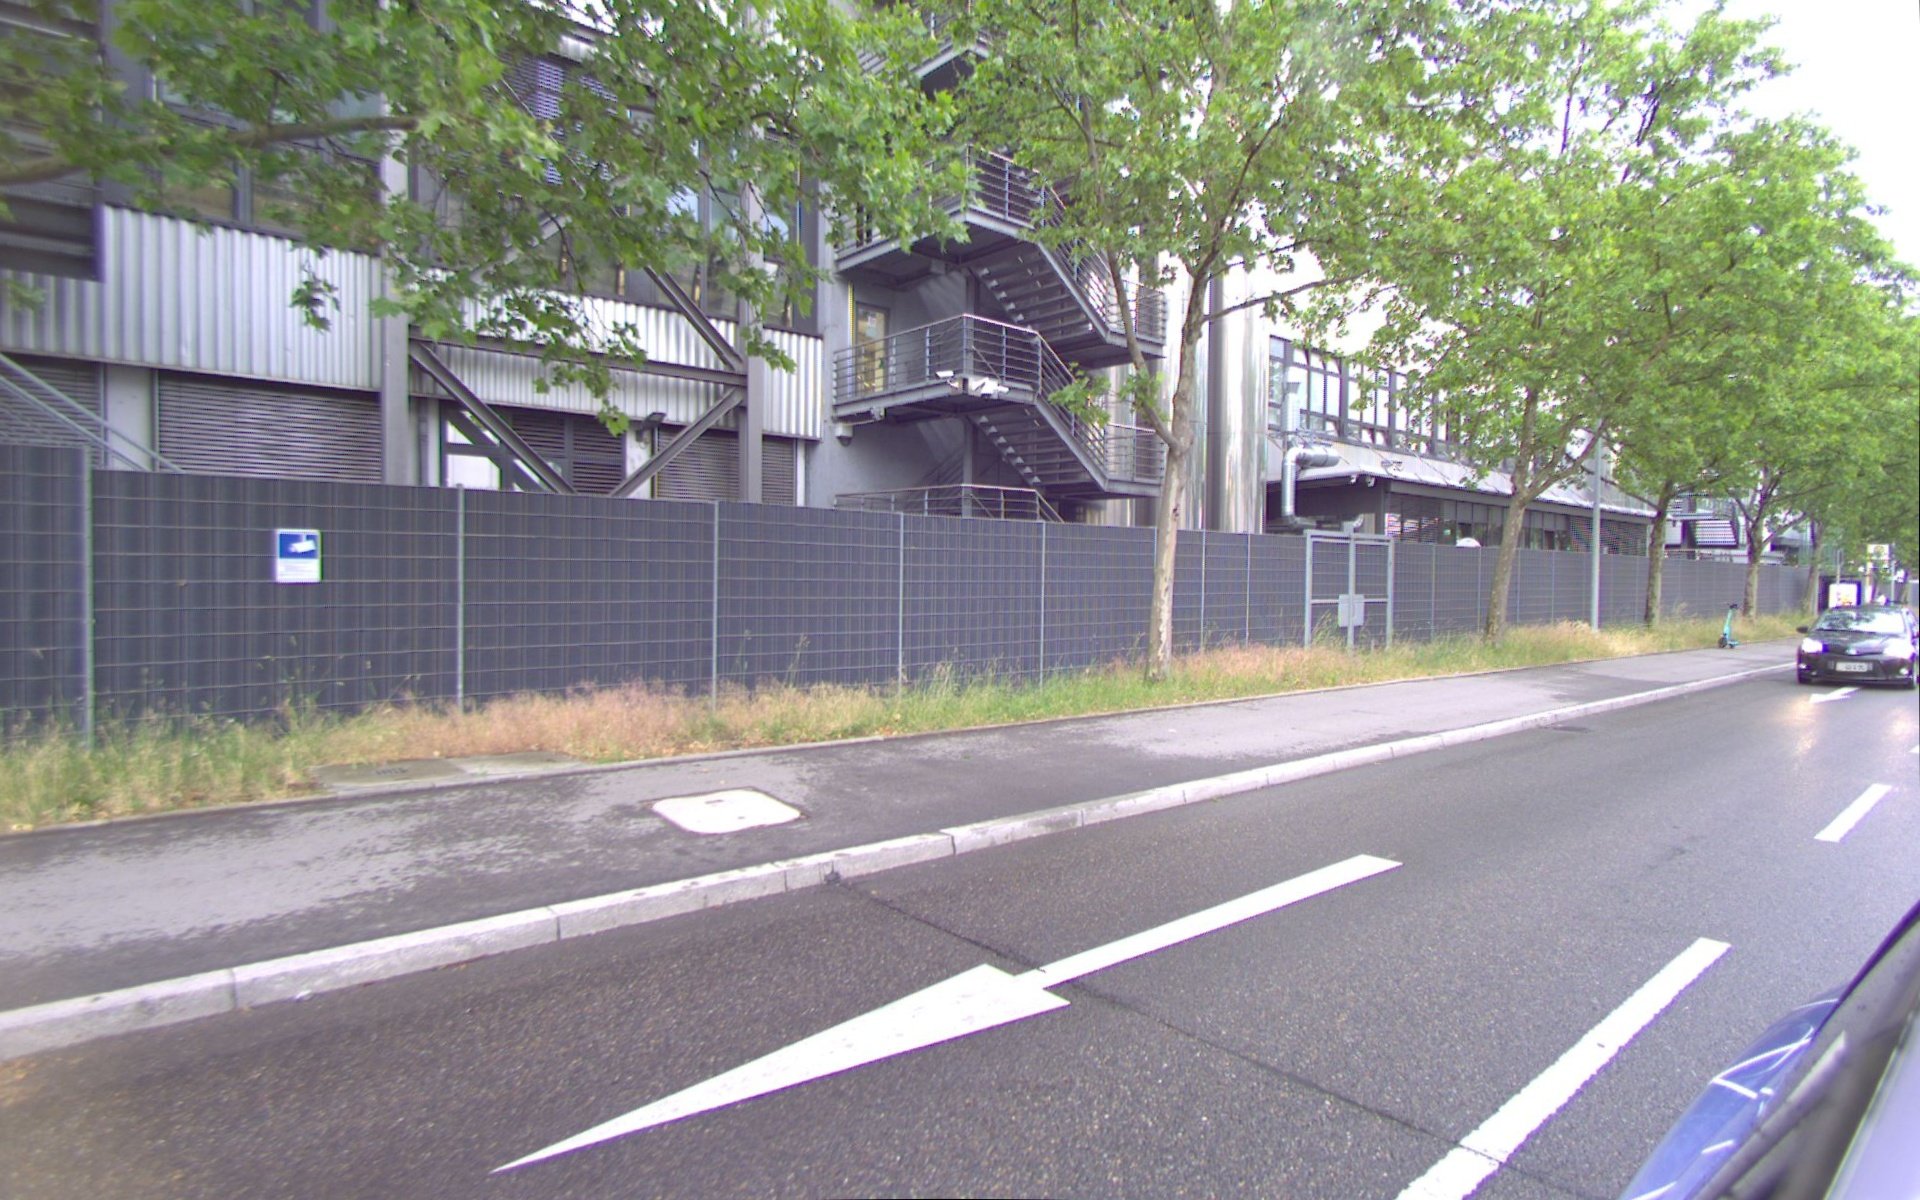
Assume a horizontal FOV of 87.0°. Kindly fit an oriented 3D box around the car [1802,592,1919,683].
[{"bbox_3d":[17.502,0.643,19.245,4.010,1.512,1.877,0,2,-45],"label":"car"}]

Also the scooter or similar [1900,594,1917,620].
[{"bbox_3d":[49.195,0.355,52.501,1.277,1.311,0.437,0,1,-39],"label":"scooter or similar"}]

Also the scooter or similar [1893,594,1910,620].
[{"bbox_3d":[48.064,0.332,51.678,1.277,1.311,0.437,0,1,-39],"label":"scooter or similar"}]

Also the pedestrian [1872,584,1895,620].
[{"bbox_3d":[46.105,0.093,50.529,0.717,1.731,0.777,0,1,-42],"label":"pedestrian"}]

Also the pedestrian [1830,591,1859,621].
[{"bbox_3d":[42.617,0.281,48.765,0.686,1.433,0.932,0,1,-42],"label":"pedestrian"}]

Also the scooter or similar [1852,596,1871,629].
[{"bbox_3d":[37.154,0.490,41.688,1.222,1.325,0.329,0,1,-37],"label":"scooter or similar"}]

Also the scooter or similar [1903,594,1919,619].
[{"bbox_3d":[50.707,0.345,53.950,1.277,1.311,0.437,0,1,-39],"label":"scooter or similar"}]

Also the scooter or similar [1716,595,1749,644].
[{"bbox_3d":[20.656,0.504,27.065,1.087,1.285,0.330,0,1,-33],"label":"scooter or similar"}]

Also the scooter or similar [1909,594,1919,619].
[{"bbox_3d":[52.217,0.338,55.156,1.341,1.311,0.437,0,1,-34],"label":"scooter or similar"}]
